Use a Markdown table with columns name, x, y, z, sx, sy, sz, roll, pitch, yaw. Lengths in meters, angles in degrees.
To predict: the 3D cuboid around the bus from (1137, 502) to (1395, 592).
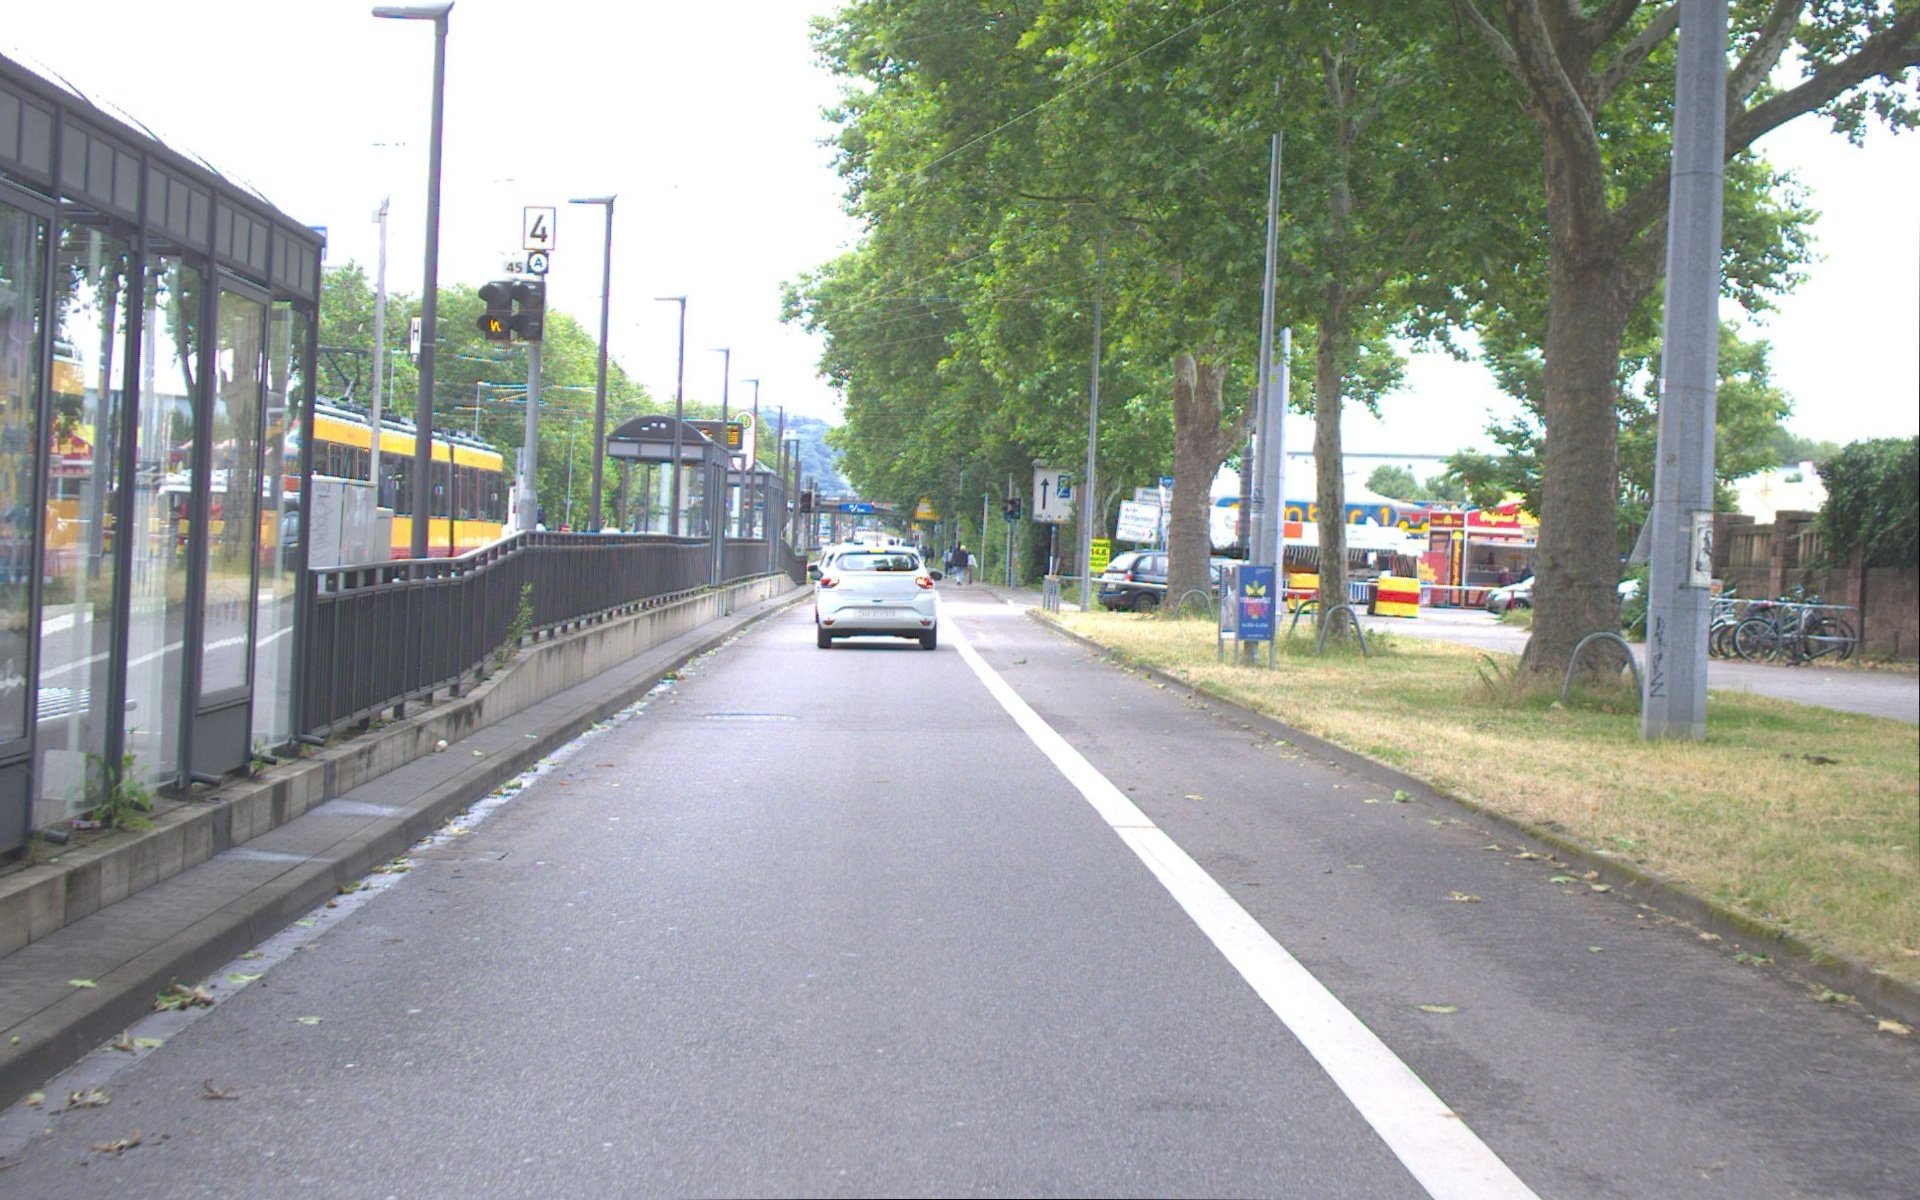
| name | x | y | z | sx | sy | sz | roll | pitch | yaw |
| --- | --- | --- | --- | --- | --- | --- | --- | --- | --- |
| bus | 11.416 | -1.961 | 128.624 | 9.276 | 2.949 | 2.000 | 2 | 0 | -3 |

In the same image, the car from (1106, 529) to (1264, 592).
| name | x | y | z | sx | sy | sz | roll | pitch | yaw |
| --- | --- | --- | --- | --- | --- | --- | --- | --- | --- |
| car | 5.811 | -1.027 | 89.223 | 3.987 | 1.481 | 1.786 | 2 | 1 | 2 |

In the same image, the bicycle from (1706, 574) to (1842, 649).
| name | x | y | z | sx | sy | sz | roll | pitch | yaw |
| --- | --- | --- | --- | --- | --- | --- | --- | --- | --- |
| bicycle | 12.236 | 0.172 | 51.690 | 1.900 | 1.093 | 0.550 | 1 | 1 | -3 |

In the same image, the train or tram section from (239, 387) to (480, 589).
| name | x | y | z | sx | sy | sz | roll | pitch | yaw |
| --- | --- | --- | --- | --- | --- | --- | --- | --- | --- |
| train or tram section | -13.811 | -2.463 | 80.588 | 3.180 | 4.164 | 14.735 | 2 | 0 | -1 |

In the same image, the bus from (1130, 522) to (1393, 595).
| name | x | y | z | sx | sy | sz | roll | pitch | yaw |
| --- | --- | --- | --- | --- | --- | --- | --- | --- | --- |
| bus | 10.972 | -1.513 | 125.484 | 9.276 | 2.220 | 2.000 | 2 | 0 | -3 |

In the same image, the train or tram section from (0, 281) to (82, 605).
| name | x | y | z | sx | sy | sz | roll | pitch | yaw |
| --- | --- | --- | --- | --- | --- | --- | --- | --- | --- |
| train or tram section | -12.989 | -1.903 | 39.100 | 3.163 | 3.848 | 11.312 | 2 | 0 | -1 |

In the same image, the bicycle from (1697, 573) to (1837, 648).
| name | x | y | z | sx | sy | sz | roll | pitch | yaw |
| --- | --- | --- | --- | --- | --- | --- | --- | --- | --- |
| bicycle | 12.281 | 0.158 | 52.329 | 1.974 | 1.091 | 0.550 | 1 | 1 | -3 |

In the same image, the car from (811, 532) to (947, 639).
| name | x | y | z | sx | sy | sz | roll | pitch | yaw |
| --- | --- | --- | --- | --- | --- | --- | --- | --- | --- |
| car | -1.164 | -0.225 | 51.119 | 1.885 | 1.448 | 4.000 | 2 | 0 | 0 |

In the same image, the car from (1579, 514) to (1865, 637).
| name | x | y | z | sx | sy | sz | roll | pitch | yaw |
| --- | --- | --- | --- | --- | --- | --- | --- | --- | --- |
| car | 17.594 | -0.572 | 79.541 | 6.022 | 2.547 | 2.100 | 2 | 0 | -3 |

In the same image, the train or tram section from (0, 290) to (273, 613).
| name | x | y | z | sx | sy | sz | roll | pitch | yaw |
| --- | --- | --- | --- | --- | --- | --- | --- | --- | --- |
| train or tram section | -13.228 | -2.047 | 51.635 | 3.180 | 4.164 | 13.621 | 2 | 0 | -1 |

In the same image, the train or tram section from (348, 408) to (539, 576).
| name | x | y | z | sx | sy | sz | roll | pitch | yaw |
| --- | --- | --- | --- | --- | --- | --- | --- | --- | --- |
| train or tram section | -14.106 | -2.835 | 95.277 | 3.180 | 4.164 | 14.735 | 2 | 0 | -1 |

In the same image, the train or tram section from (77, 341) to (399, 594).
| name | x | y | z | sx | sy | sz | roll | pitch | yaw |
| --- | --- | --- | --- | --- | --- | --- | --- | --- | --- |
| train or tram section | -13.484 | -2.319 | 65.853 | 3.180 | 4.164 | 14.735 | 2 | 0 | -1 |

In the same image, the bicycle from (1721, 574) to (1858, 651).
| name | x | y | z | sx | sy | sz | roll | pitch | yaw |
| --- | --- | --- | --- | --- | --- | --- | --- | --- | --- |
| bicycle | 12.328 | 0.186 | 51.114 | 1.889 | 1.101 | 0.550 | 1 | 1 | -3 |

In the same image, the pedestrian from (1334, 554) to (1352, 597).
| name | x | y | z | sx | sy | sz | roll | pitch | yaw |
| --- | --- | --- | --- | --- | --- | --- | --- | --- | --- |
| pedestrian | 13.295 | -0.860 | 119.283 | 0.492 | 1.458 | 0.524 | 2 | 0 | -4 |

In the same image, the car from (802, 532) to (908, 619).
| name | x | y | z | sx | sy | sz | roll | pitch | yaw |
| --- | --- | --- | --- | --- | --- | --- | --- | --- | --- |
| car | -1.972 | -0.492 | 65.637 | 1.841 | 1.546 | 4.000 | 2 | 1 | 0 |

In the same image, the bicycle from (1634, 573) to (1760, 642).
| name | x | y | z | sx | sy | sz | roll | pitch | yaw |
| --- | --- | --- | --- | --- | --- | --- | --- | --- | --- |
| bicycle | 12.065 | 0.115 | 56.267 | 1.921 | 1.087 | 0.550 | 1 | 1 | -3 |
